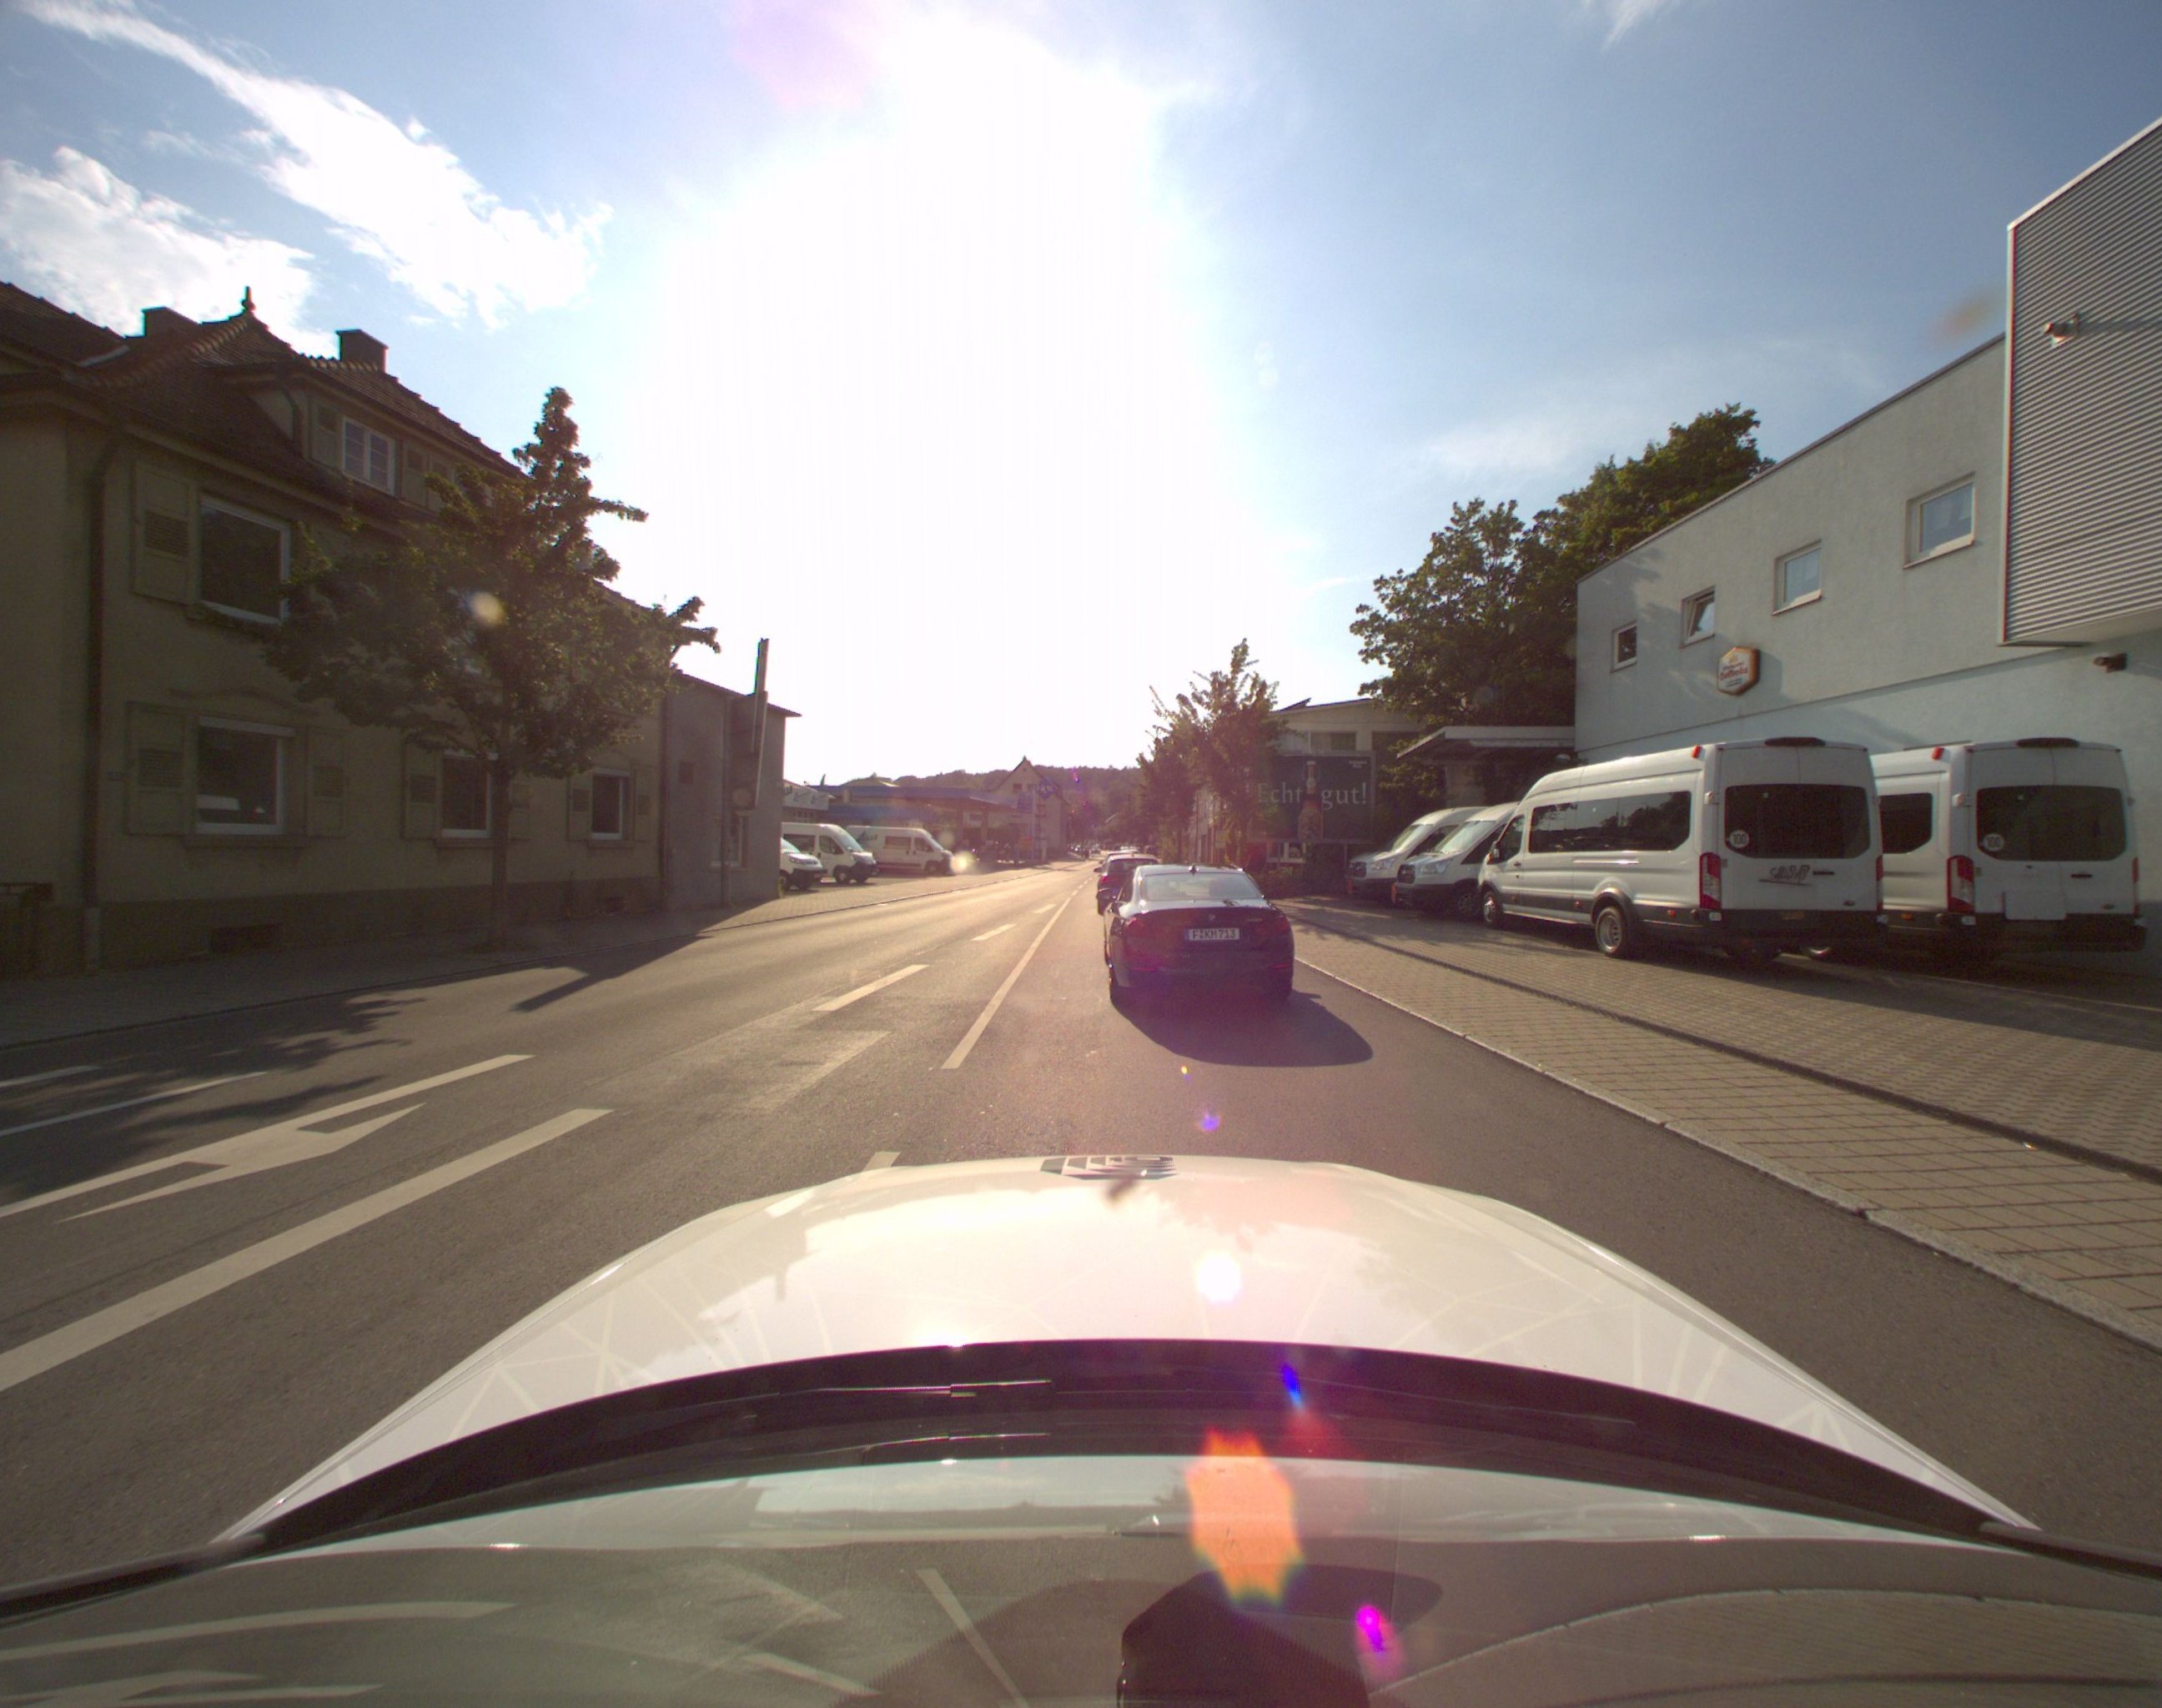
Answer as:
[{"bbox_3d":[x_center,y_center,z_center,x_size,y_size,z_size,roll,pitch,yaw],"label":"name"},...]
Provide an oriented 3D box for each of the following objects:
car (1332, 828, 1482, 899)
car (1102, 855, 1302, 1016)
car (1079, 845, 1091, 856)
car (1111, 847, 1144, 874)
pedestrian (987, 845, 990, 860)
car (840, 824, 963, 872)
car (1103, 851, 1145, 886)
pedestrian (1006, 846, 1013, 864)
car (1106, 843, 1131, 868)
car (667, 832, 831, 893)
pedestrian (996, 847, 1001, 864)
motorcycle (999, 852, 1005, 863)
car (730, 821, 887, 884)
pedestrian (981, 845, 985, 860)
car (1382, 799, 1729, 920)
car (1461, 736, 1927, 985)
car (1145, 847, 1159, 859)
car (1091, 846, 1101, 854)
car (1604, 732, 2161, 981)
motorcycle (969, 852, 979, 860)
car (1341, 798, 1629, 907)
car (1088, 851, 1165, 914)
[{"bbox_3d":[9.036,0.247,22.758,3.588,1.894,1.586,0,1,0],"label":"car"},{"bbox_3d":[1.149,0.733,9.481,1.694,1.369,4.262,-1,1,0],"label":"car"},{"bbox_3d":[0.621,-0.537,121.881,1.590,1.485,3.477,1,1,2],"label":"car"},{"bbox_3d":[2.848,0.360,49.226,1.582,1.600,3.904,0,1,10],"label":"car"},{"bbox_3d":[-8.495,-0.125,74.498,0.261,1.383,0.287,0,0,-4],"label":"pedestrian"},{"bbox_3d":[-9.692,-0.326,44.299,6.132,2.444,2.251,1,1,3],"label":"car"},{"bbox_3d":[1.916,0.609,35.571,1.746,1.414,3.426,0,1,4],"label":"car"},{"bbox_3d":[-6.575,0.126,75.122,0.608,1.670,0.442,0,0,0],"label":"pedestrian"},{"bbox_3d":[2.795,0.105,60.148,1.595,1.767,3.416,0,1,5],"label":"car"},{"bbox_3d":[-11.591,0.271,28.590,4.951,1.999,1.938,1,0,5],"label":"car"},{"bbox_3d":[-7.651,0.161,75.274,0.406,1.547,0.433,0,0,0],"label":"pedestrian"},{"bbox_3d":[-7.235,0.331,74.809,0.362,0.943,1.696,0,1,2],"label":"motorcycle"},{"bbox_3d":[-11.491,-0.104,34.575,5.887,2.480,2.198,1,1,7],"label":"car"},{"bbox_3d":[-8.918,-0.118,74.022,0.286,1.366,0.263,0,0,-1],"label":"pedestrian"},{"bbox_3d":[9.625,0.099,16.891,6.022,2.363,2.044,0,1,0],"label":"car"},{"bbox_3d":[8.149,0.028,12.095,2.141,2.680,6.606,0,1,2],"label":"car"},{"bbox_3d":[9.470,-0.140,108.890,1.590,1.485,3.477,1,1,2],"label":"car"},{"bbox_3d":[2.661,-0.710,144.738,1.590,1.485,3.477,1,1,2],"label":"car"},{"bbox_3d":[10.831,-0.015,12.129,2.103,2.721,6.446,0,1,2],"label":"car"},{"bbox_3d":[-9.893,0.154,75.371,0.456,0.730,1.478,0,1,10],"label":"motorcycle"},{"bbox_3d":[9.655,-0.048,19.848,6.022,2.516,2.044,0,1,0],"label":"car"},{"bbox_3d":[1.233,0.660,20.778,1.762,1.456,3.522,0,0,6],"label":"car"}]
